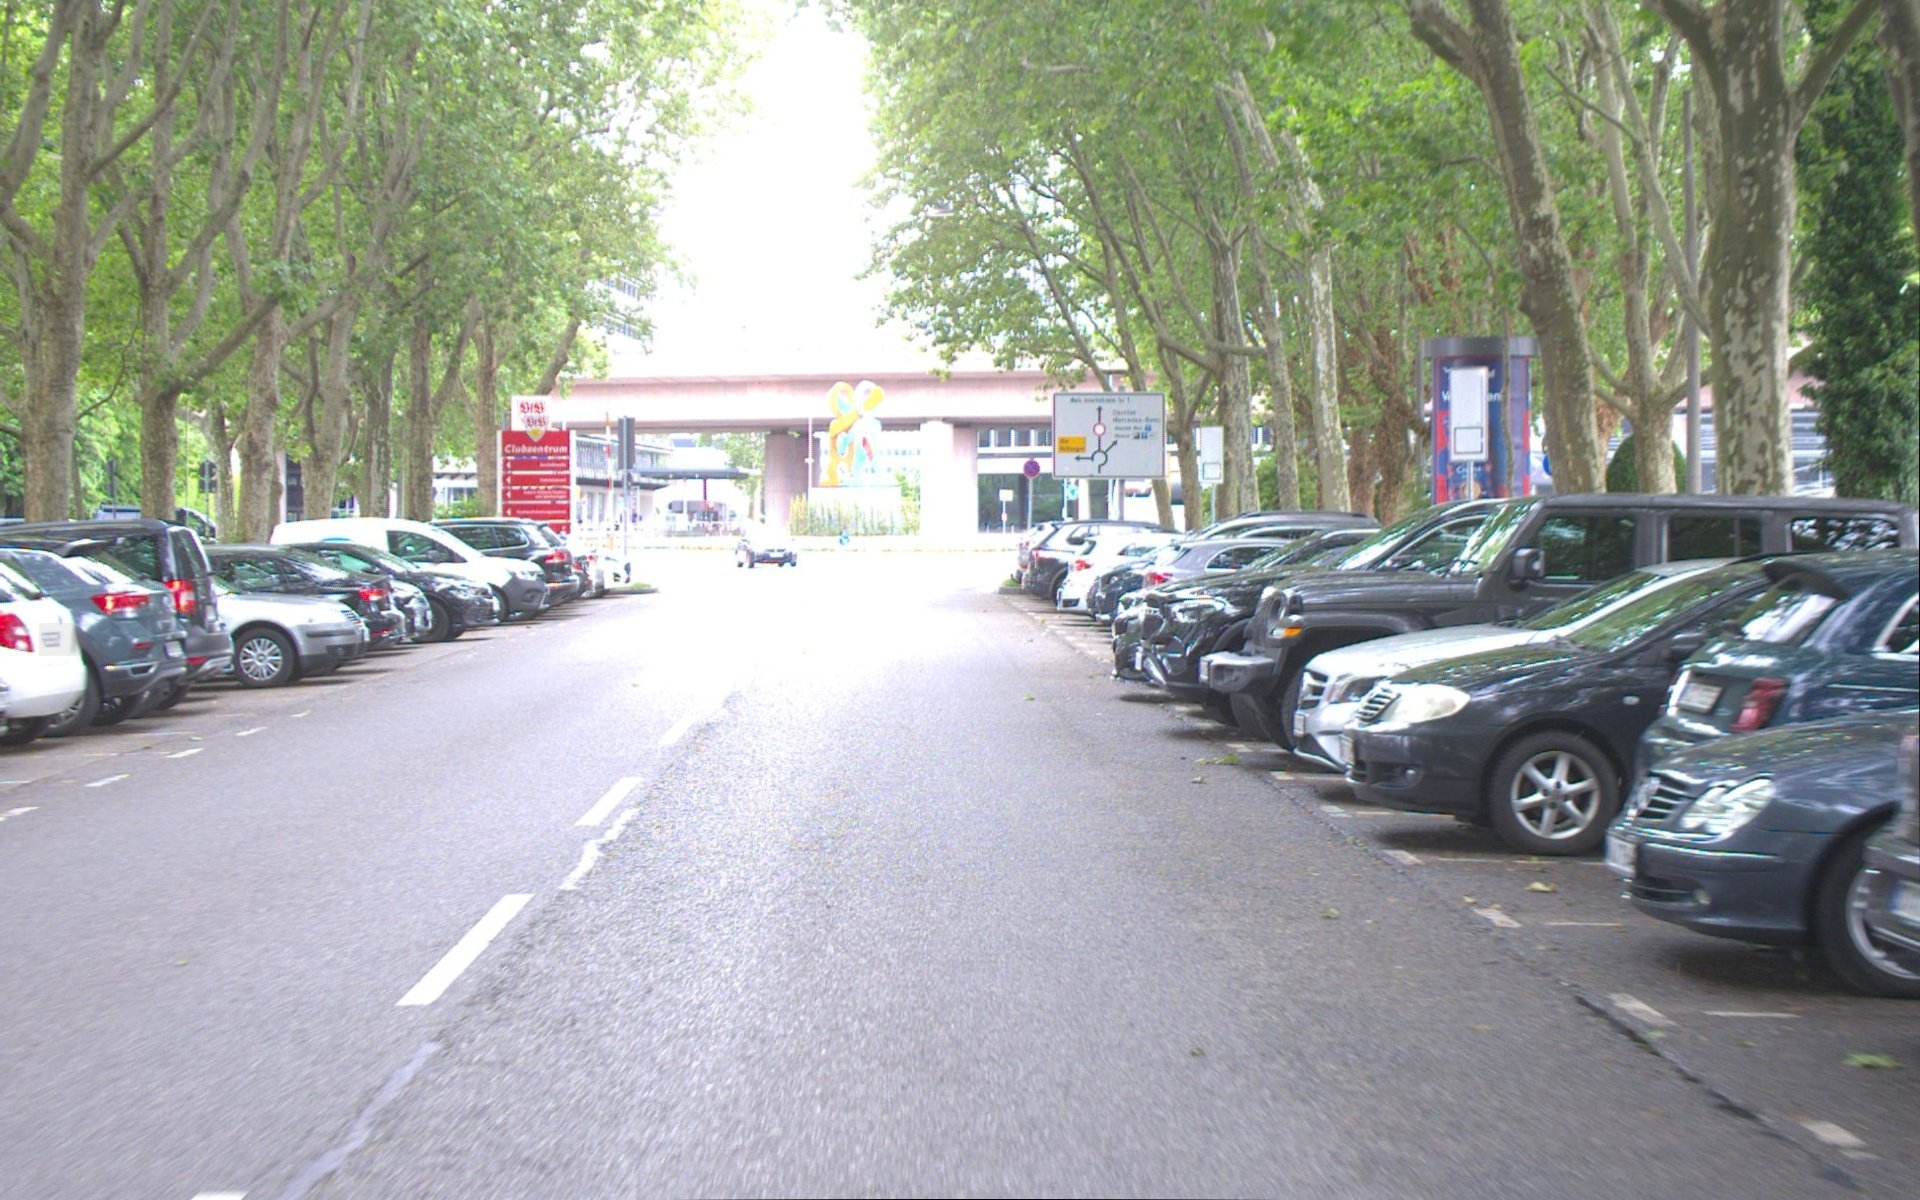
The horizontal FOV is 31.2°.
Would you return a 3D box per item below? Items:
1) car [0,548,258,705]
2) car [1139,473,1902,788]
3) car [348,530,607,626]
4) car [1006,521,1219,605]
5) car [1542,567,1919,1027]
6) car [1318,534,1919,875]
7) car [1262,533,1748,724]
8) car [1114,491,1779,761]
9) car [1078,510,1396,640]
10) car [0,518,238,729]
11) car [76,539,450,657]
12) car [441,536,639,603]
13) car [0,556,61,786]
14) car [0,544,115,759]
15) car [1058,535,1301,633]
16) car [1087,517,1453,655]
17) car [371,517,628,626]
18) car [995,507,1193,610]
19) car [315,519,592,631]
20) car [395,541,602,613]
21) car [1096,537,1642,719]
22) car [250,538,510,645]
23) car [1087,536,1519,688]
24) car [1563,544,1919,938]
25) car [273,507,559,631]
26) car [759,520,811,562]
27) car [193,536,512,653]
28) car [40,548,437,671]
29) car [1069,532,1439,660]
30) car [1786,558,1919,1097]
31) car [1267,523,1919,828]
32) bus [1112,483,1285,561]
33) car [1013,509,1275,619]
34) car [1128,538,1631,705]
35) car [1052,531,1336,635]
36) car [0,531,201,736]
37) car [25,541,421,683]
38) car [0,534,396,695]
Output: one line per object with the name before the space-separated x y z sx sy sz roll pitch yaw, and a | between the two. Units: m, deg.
car | -8.765 0.253 32.385 3.930 1.360 1.827 -2 1 -2
car | 3.554 0.169 22.394 4.494 1.860 2.048 1 2 -4
car | -8.352 -0.394 59.766 4.129 1.447 2.013 -3 1 1
car | 3.171 -0.792 72.249 4.346 1.628 1.926 1 2 0
car | 4.373 0.676 12.226 4.195 1.451 1.785 1 2 -4
car | 4.011 0.509 17.091 4.195 1.513 1.785 2 1 -1
car | 5.552 0.272 35.351 4.494 1.790 2.048 1 2 -7
car | 3.459 0.156 25.139 4.495 1.790 2.048 1 2 -1
car | 3.961 -0.377 49.727 4.346 1.739 1.837 1 2 -2
car | -8.327 0.204 29.389 3.930 1.702 1.752 -2 1 -2
car | -9.013 -0.046 44.708 4.463 1.365 1.880 -2 1 -1
car | -9.137 -0.672 74.955 3.994 1.380 1.911 1 1 3
car | -8.036 0.488 22.214 3.993 1.415 1.703 -2 1 -2
car | -8.390 0.393 24.984 3.993 1.480 1.703 -1 1 4
car | 3.475 -0.264 54.725 3.639 1.422 1.666 1 2 -4
car | 3.979 -0.199 44.731 4.591 1.633 1.872 1 2 1
car | -8.237 -0.523 61.781 4.317 1.804 1.868 -2 1 -1
car | 2.766 -0.882 71.830 3.987 2.006 2.000 1 2 0
car | -8.397 -0.422 57.324 4.317 1.789 2.037 1 1 -1
car | -9.370 -0.475 70.024 3.987 1.400 1.862 1 1 -1
car | 3.491 0.223 29.984 4.495 1.423 1.932 1 1 0
car | -8.809 -0.142 52.108 3.781 1.467 1.765 -2 1 -11
car | 3.700 0.117 37.524 4.345 1.497 1.926 1 2 -6
car | 4.868 0.583 14.595 4.195 1.513 1.785 1 2 -4
car | -8.628 -0.510 54.803 4.317 1.804 1.868 -2 1 -4
car | -6.389 -2.149 125.624 1.842 1.504 4.015 1 1 -2
car | -8.309 -0.092 47.200 3.979 1.416 1.755 -2 1 2
car | -8.867 0.103 42.518 4.463 1.343 1.902 -1 1 1
car | 3.564 -0.065 42.323 4.346 1.408 1.926 1 2 0
car | 4.716 0.673 9.818 4.195 1.451 1.785 1 2 -4
car | 4.093 0.401 19.772 4.495 1.566 2.047 1 2 2
bus | 10.684 -3.461 152.847 2.338 3.387 9.996 1 2 39
car | 3.162 -0.632 59.741 4.346 1.755 1.926 2 1 -2
car | 3.879 0.179 32.353 4.495 1.415 1.829 1 1 1
car | 3.514 -0.263 52.209 4.148 1.453 1.727 1 1 0
car | -8.102 0.273 26.928 3.930 1.511 1.728 -2 1 -2
car | -7.937 0.111 37.289 3.930 1.393 1.703 -2 1 -2
car | -8.094 0.138 34.864 4.463 1.477 1.703 -2 1 -2
